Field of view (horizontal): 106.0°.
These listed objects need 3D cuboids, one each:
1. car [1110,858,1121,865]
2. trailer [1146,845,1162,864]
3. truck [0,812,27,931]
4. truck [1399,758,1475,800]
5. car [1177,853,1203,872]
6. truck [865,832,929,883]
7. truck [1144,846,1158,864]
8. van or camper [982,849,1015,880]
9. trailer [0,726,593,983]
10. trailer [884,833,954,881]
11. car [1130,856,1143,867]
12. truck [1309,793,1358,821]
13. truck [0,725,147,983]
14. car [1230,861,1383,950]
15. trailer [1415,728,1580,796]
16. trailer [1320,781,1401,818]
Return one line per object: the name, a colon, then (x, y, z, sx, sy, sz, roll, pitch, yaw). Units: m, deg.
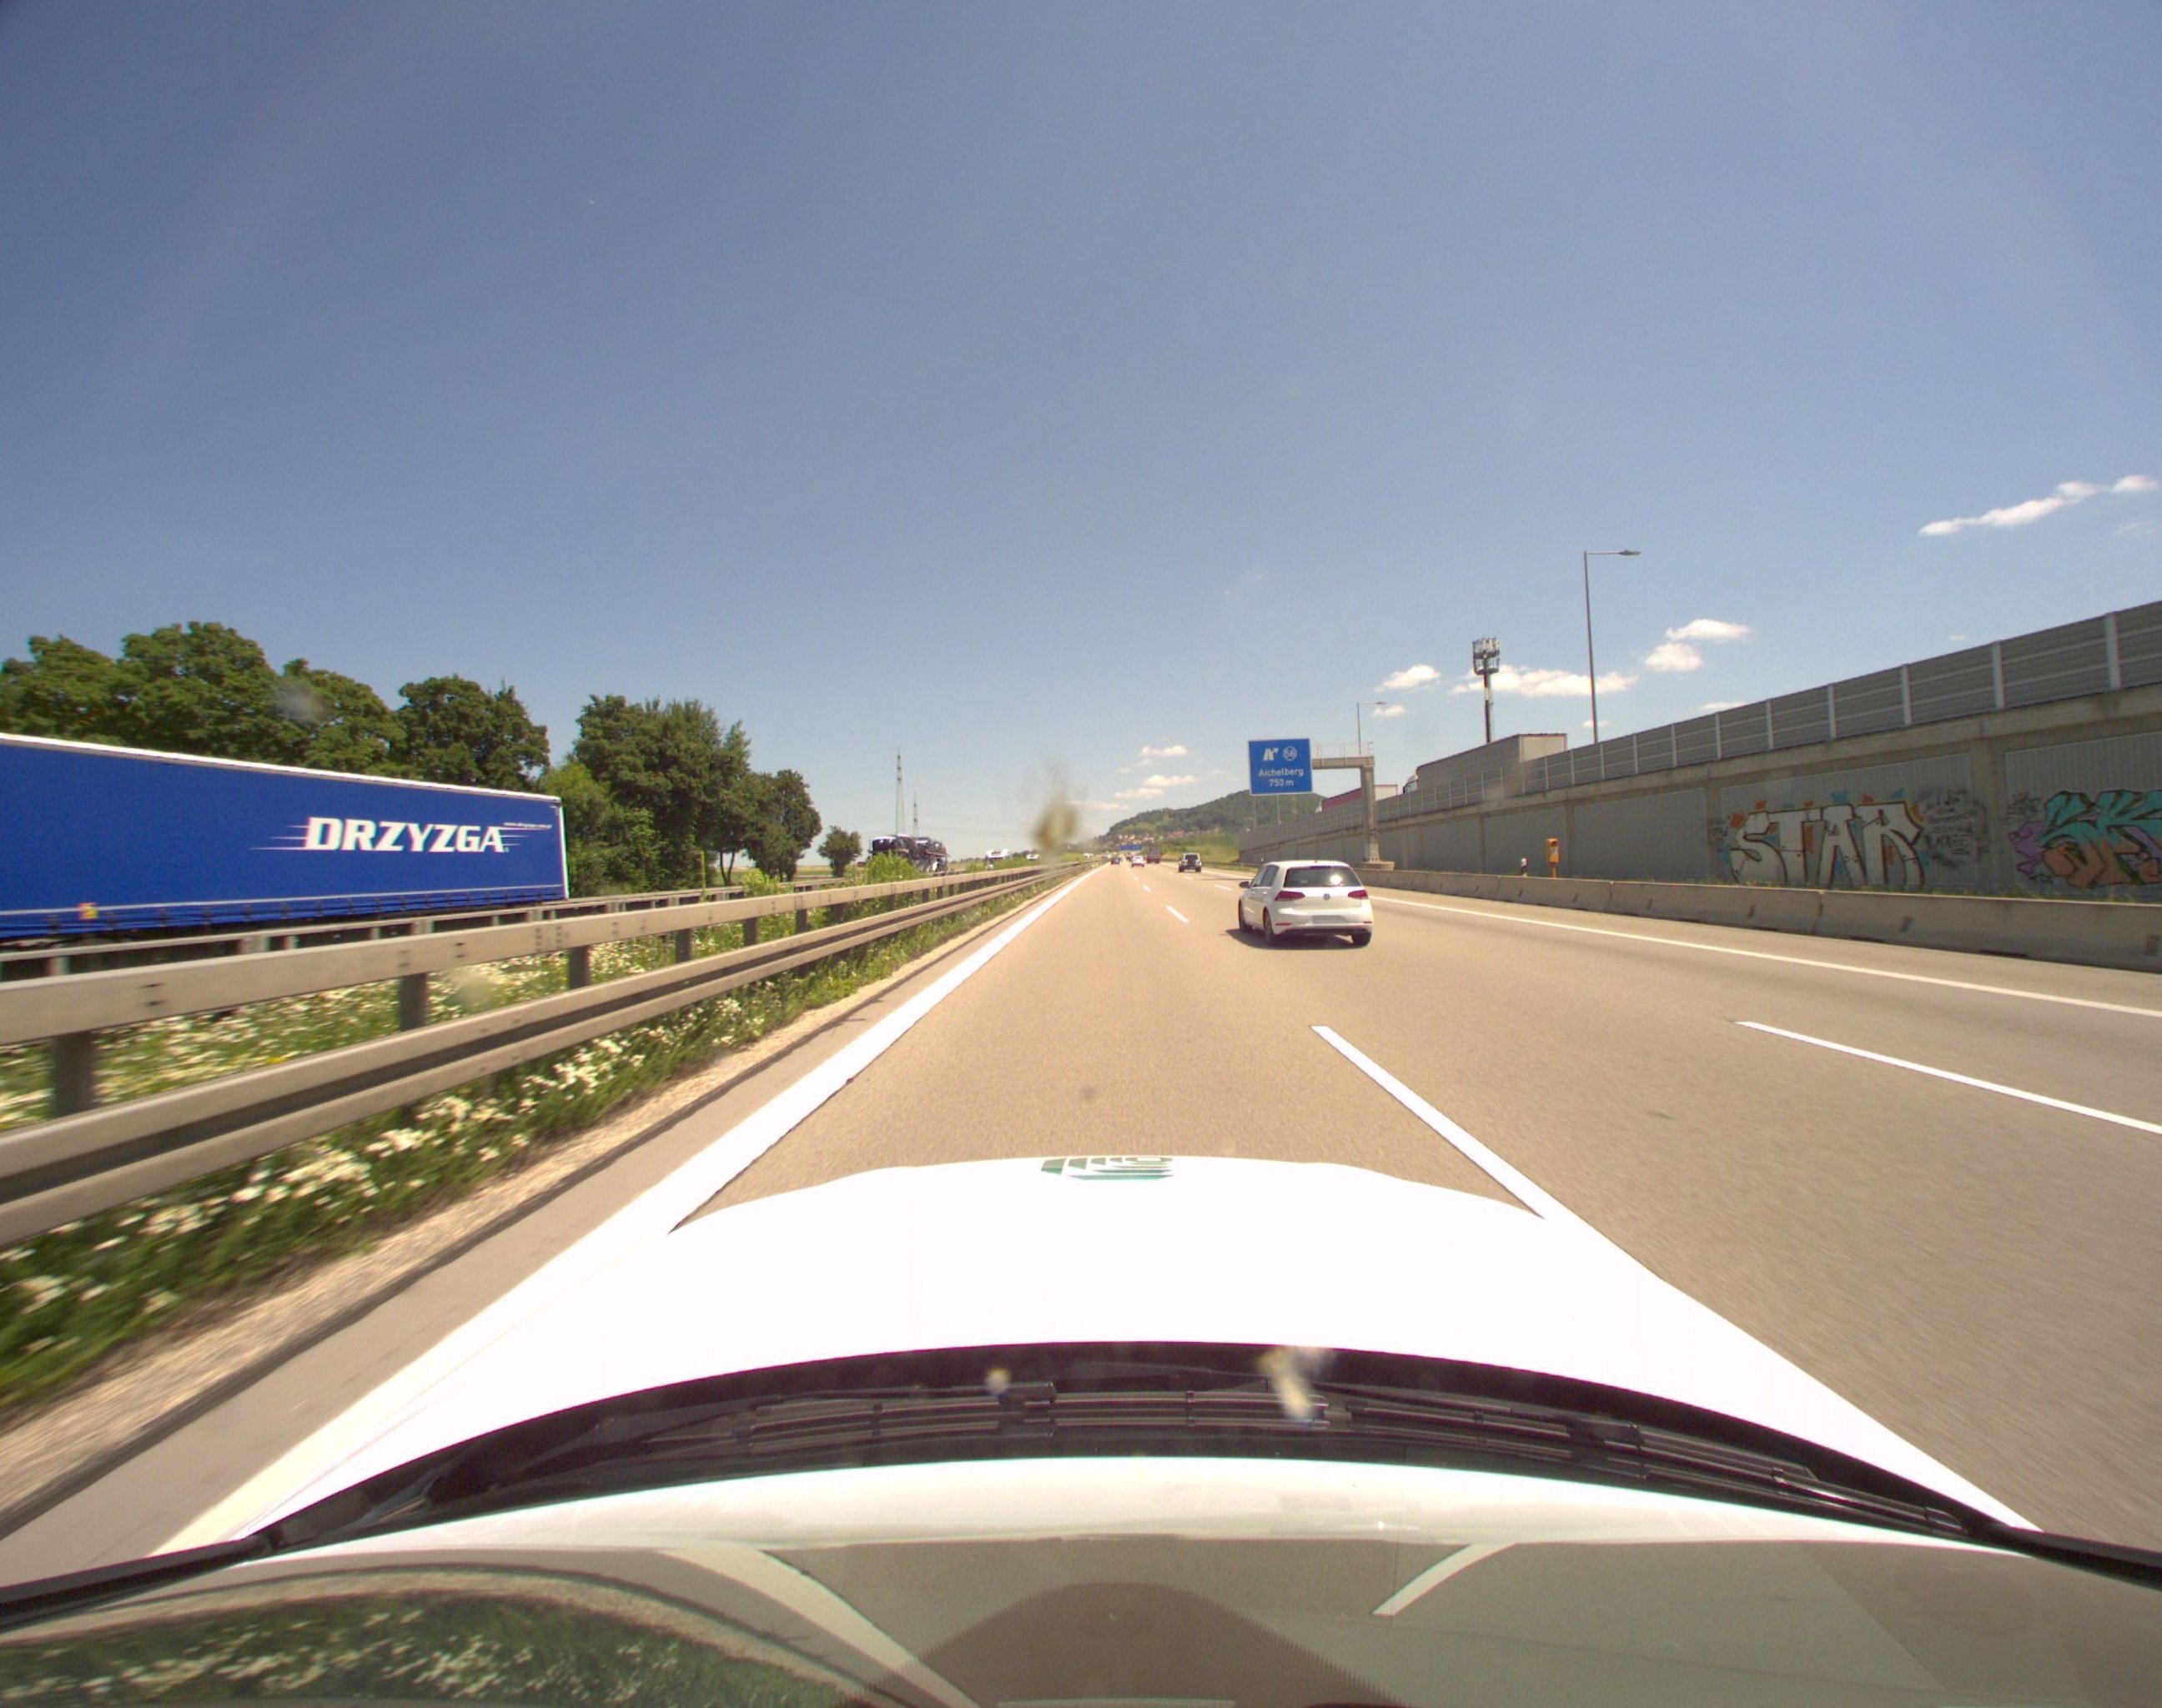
car: (6.810, 1.515, 160.874, 1.985, 1.389, 4.003, 0, -1, 3)
trailer: (16.362, 0.106, 183.679, 2.716, 4.155, 11.807, 0, -1, 0)
truck: (-34.384, 0.490, 21.322, 2.545, 3.634, 8.396, 0, -1, 0)
truck: (24.565, -5.128, 56.452, 2.713, 2.230, 6.037, 0, -1, 1)
car: (10.686, 0.819, 80.044, 2.027, 1.804, 4.252, -1, 0, 2)
truck: (-14.508, 0.311, 65.036, 2.666, 3.820, 9.157, 0, -1, 2)
truck: (16.430, 0.232, 190.730, 2.743, 4.021, 6.788, 0, -1, 0)
van or camper: (-9.320, 1.204, 92.648, 2.514, 3.267, 7.378, -3, -1, 2)
trailer: (-16.959, 0.107, 18.299, 2.832, 3.734, 14.534, 0, -1, 2)
trailer: (-14.211, 0.362, 73.087, 2.674, 3.847, 15.186, 0, -1, 2)
car: (8.389, 1.108, 123.123, 1.906, 1.581, 5.234, 0, -1, 3)
truck: (25.056, -4.636, 81.143, 2.698, 2.204, 7.288, 0, -1, 1)
truck: (-17.163, -0.013, 10.794, 2.838, 3.745, 5.695, 0, -1, 2)
car: (4.049, 0.859, 15.431, 1.769, 1.433, 4.693, 0, -1, 2)
trailer: (24.450, -5.256, 49.227, 2.710, 2.224, 14.528, 0, -1, 1)
trailer: (24.938, -4.753, 73.716, 2.710, 2.224, 14.021, 0, -1, 1)
